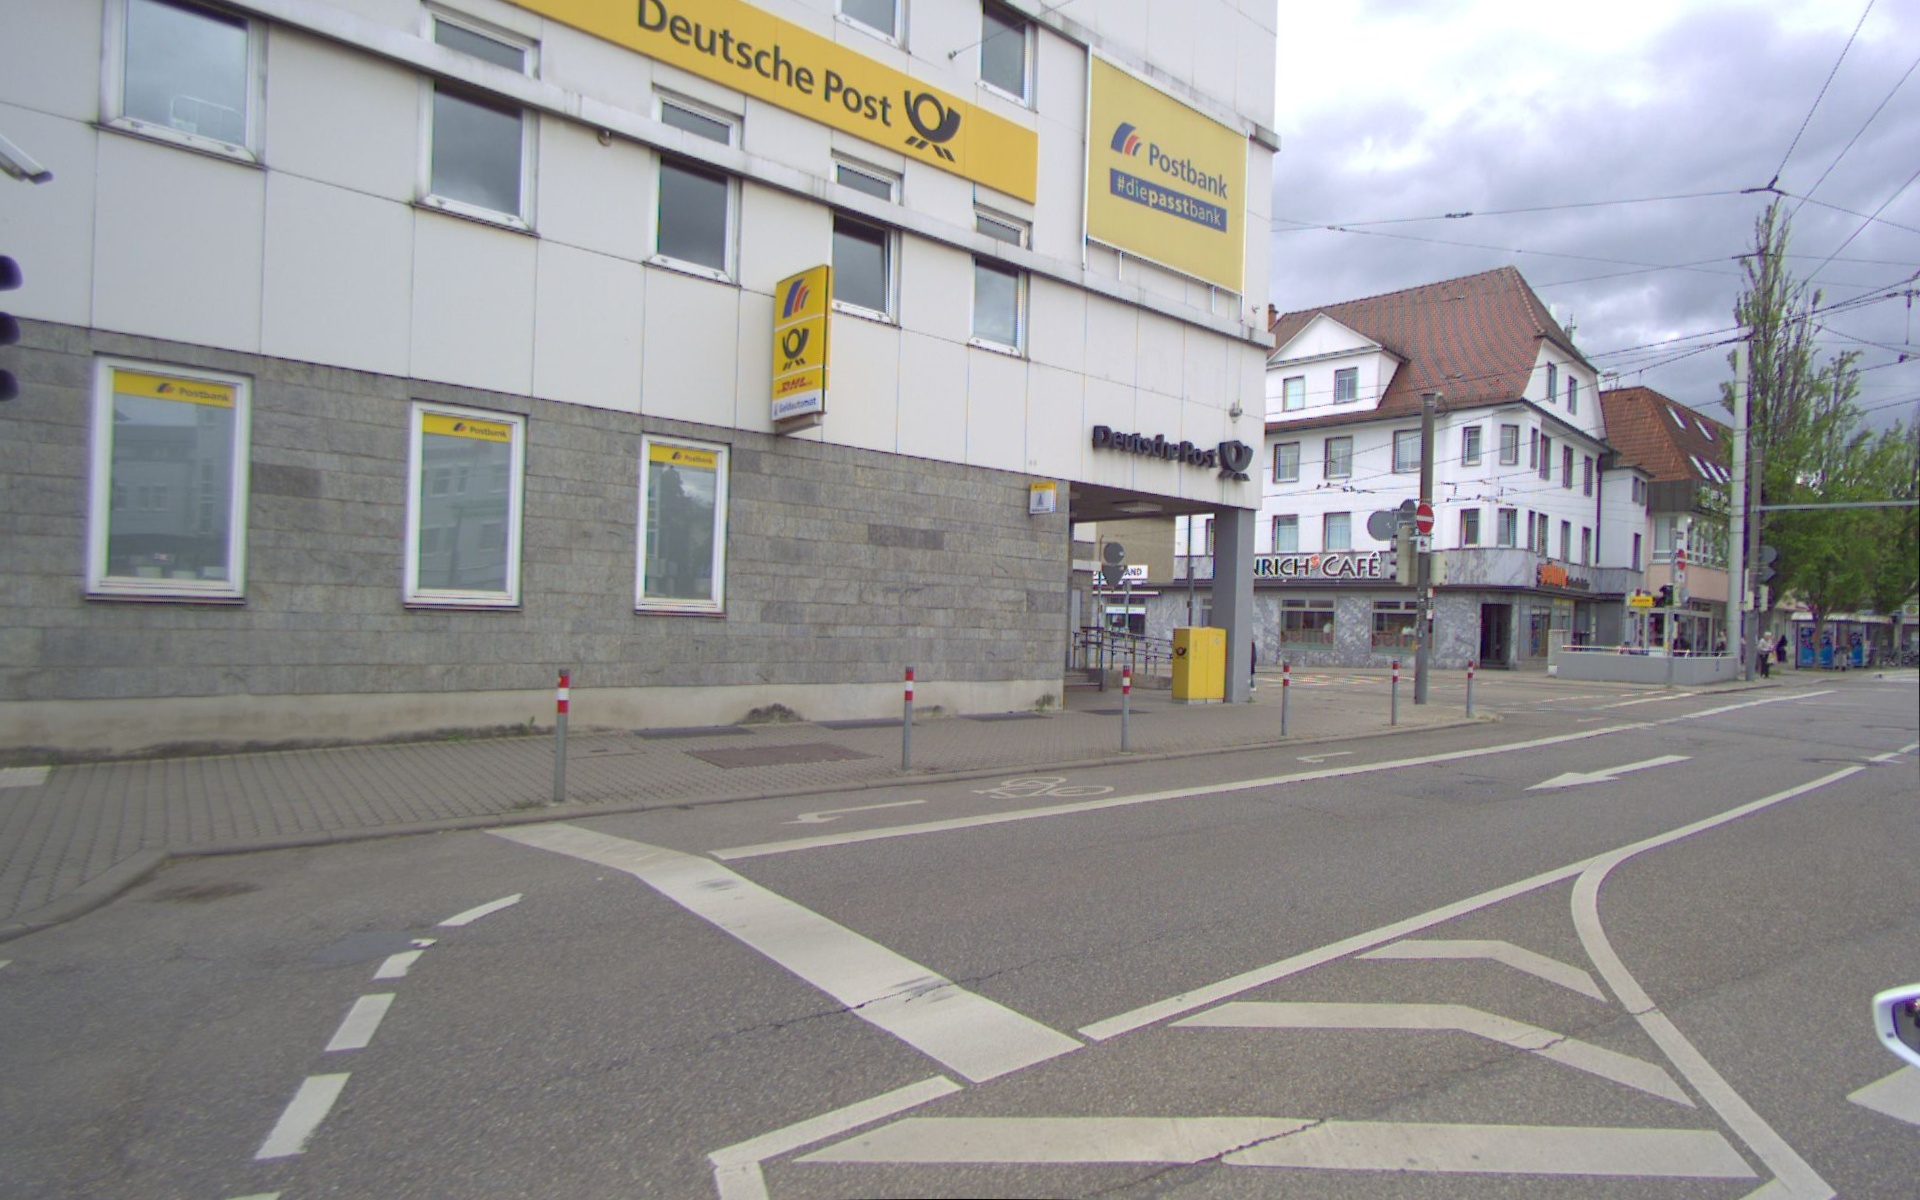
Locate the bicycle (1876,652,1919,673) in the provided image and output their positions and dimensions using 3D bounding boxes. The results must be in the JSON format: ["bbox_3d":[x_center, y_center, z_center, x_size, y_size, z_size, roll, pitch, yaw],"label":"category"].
[{"bbox_3d":[53.004,3.505,56.678,1.917,1.043,0.527,2,0,44],"label":"bicycle"}]

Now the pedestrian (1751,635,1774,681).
[{"bbox_3d":[29.274,2.105,36.624,0.626,1.627,0.701,1,-1,40],"label":"pedestrian"}]

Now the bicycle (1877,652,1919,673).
[{"bbox_3d":[52.573,3.485,56.163,1.917,1.043,0.527,2,0,44],"label":"bicycle"}]

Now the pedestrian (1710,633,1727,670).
[{"bbox_3d":[38.884,2.611,51.501,0.634,1.860,0.577,1,-1,39],"label":"pedestrian"}]

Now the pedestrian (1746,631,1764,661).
[{"bbox_3d":[45.264,2.611,57.179,0.692,1.627,0.578,1,-1,32],"label":"pedestrian"}]

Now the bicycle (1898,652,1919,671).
[{"bbox_3d":[55.848,3.631,58.372,1.917,1.043,0.527,2,0,44],"label":"bicycle"}]

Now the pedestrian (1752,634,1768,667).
[{"bbox_3d":[39.156,2.466,49.150,0.571,1.627,0.641,1,-1,40],"label":"pedestrian"}]

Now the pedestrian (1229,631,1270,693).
[{"bbox_3d":[6.828,1.460,23.685,0.739,1.433,0.502,2,0,-12],"label":"pedestrian"}]

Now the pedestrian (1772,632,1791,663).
[{"bbox_3d":[44.736,2.571,54.697,0.692,1.627,0.578,1,-1,32],"label":"pedestrian"}]

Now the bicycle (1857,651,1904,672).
[{"bbox_3d":[51.566,3.441,56.293,1.917,1.043,0.527,2,0,44],"label":"bicycle"}]

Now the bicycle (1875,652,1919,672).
[{"bbox_3d":[53.388,3.522,57.146,1.917,1.043,0.527,2,0,44],"label":"bicycle"}]

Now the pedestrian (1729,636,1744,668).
[{"bbox_3d":[39.938,2.658,51.658,0.571,1.627,0.641,1,-1,40],"label":"pedestrian"}]

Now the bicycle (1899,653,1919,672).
[{"bbox_3d":[55.213,3.602,57.611,1.917,1.043,0.527,2,0,44],"label":"bicycle"}]
